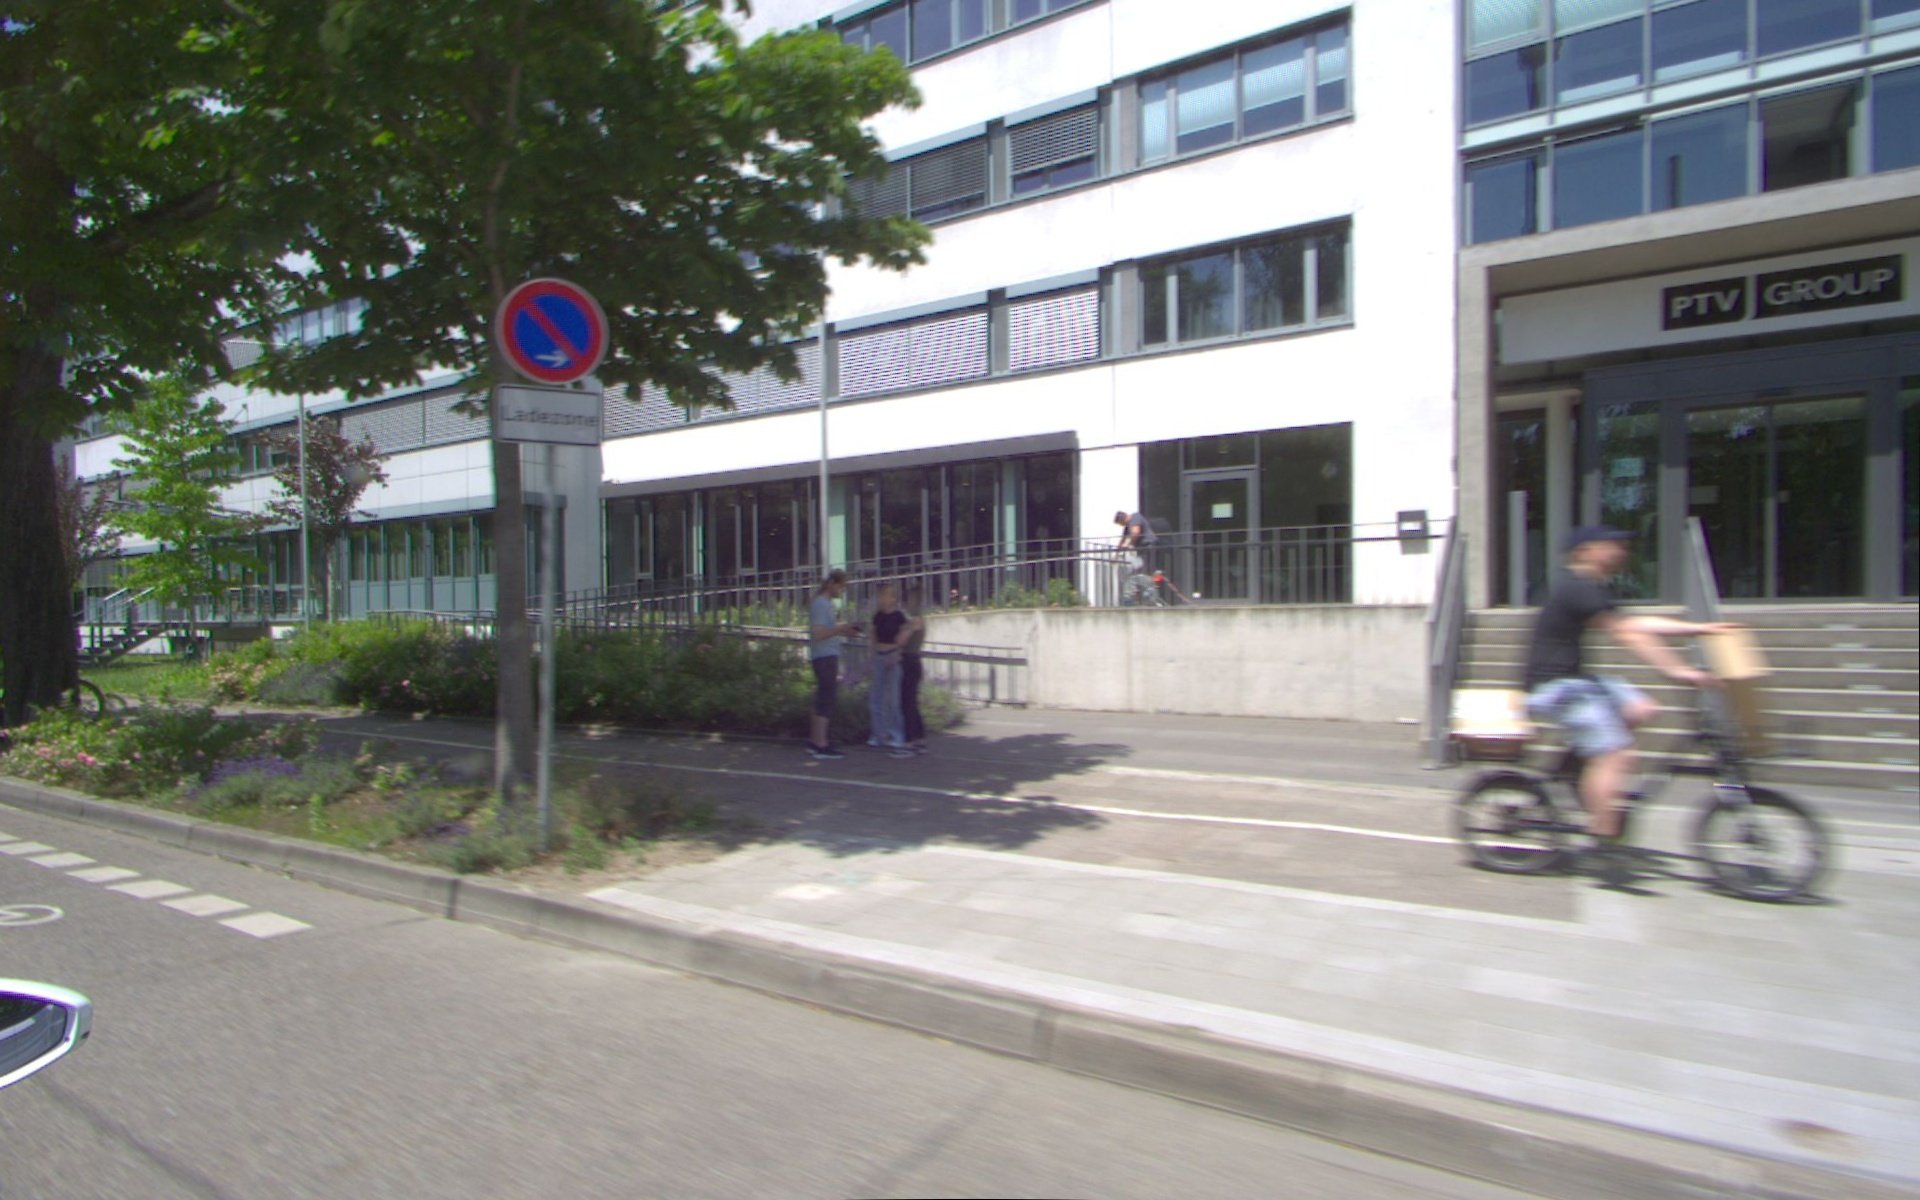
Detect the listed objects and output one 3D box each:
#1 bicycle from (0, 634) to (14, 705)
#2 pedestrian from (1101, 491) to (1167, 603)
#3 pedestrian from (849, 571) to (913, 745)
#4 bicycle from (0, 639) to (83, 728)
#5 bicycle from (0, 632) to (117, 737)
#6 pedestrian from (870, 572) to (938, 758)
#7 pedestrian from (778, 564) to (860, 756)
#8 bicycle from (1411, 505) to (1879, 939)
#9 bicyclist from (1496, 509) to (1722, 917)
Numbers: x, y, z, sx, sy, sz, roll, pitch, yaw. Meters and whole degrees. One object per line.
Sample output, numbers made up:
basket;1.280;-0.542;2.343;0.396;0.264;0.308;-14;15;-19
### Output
bicycle;-15.514;1.089;15.086;0.540;1.099;1.748;0;0;31
pedestrian;2.860;-0.838;16.390;0.796;1.738;0.876;0;-1;31
pedestrian;-0.805;0.587;10.324;0.554;1.738;0.538;-1;1;3
bicycle;-12.516;1.087;12.817;0.709;1.099;1.820;-1;0;35
bicycle;-11.518;1.016;12.122;0.684;1.198;1.880;-1;0;31
pedestrian;-0.531;0.612;9.664;0.554;1.738;0.538;-1;1;3
pedestrian;-1.380;0.571;9.893;0.661;1.821;0.679;-1;2;1
bicycle;3.276;0.520;4.961;1.786;1.809;0.687;-1;1;35
bicyclist;3.228;0.510;5.004;0.876;1.823;0.694;-1;1;35
